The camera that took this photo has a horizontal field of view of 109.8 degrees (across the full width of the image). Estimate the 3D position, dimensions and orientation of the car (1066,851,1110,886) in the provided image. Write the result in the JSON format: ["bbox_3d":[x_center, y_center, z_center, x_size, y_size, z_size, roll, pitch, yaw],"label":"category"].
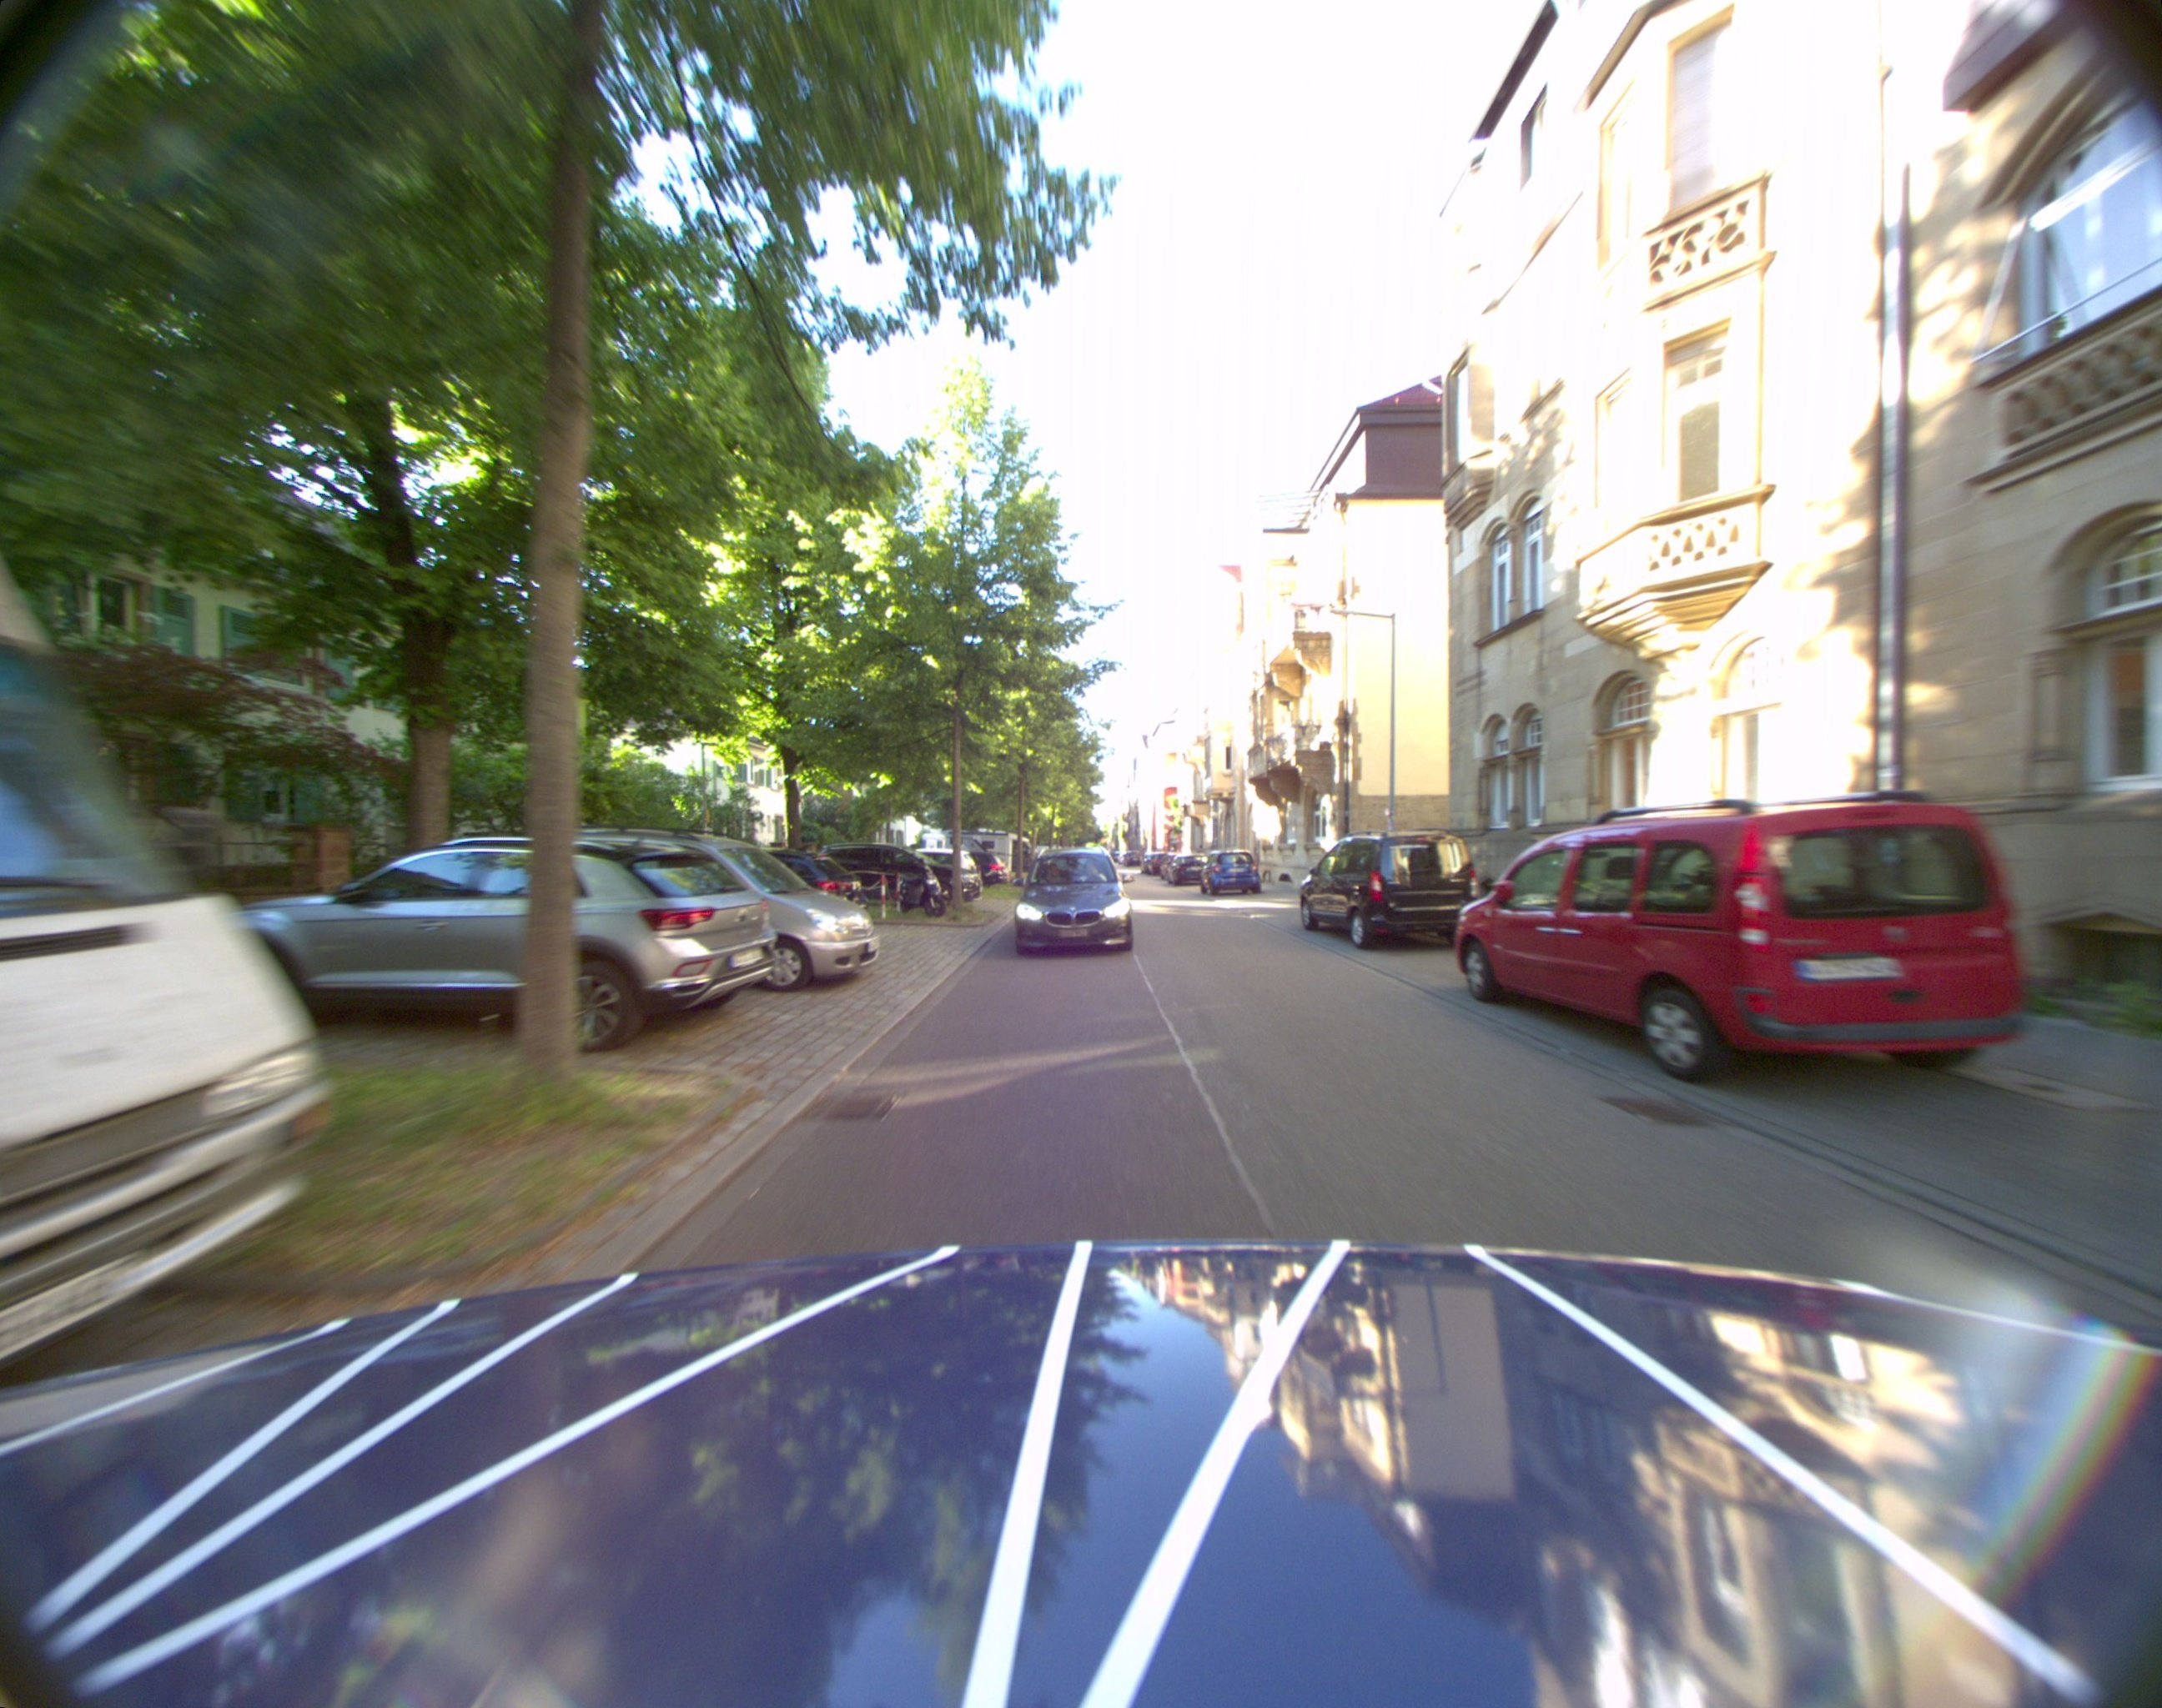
[{"bbox_3d":[0.385,0.684,37.685,1.998,1.510,4.651,-3,0,1],"label":"car"}]

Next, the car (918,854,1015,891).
[{"bbox_3d":[-4.963,0.772,33.291,3.998,1.510,1.999,0,2,-3],"label":"car"}]

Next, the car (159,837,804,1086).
[{"bbox_3d":[-4.695,0.736,6.389,3.971,1.590,1.903,2,2,3],"label":"car"}]

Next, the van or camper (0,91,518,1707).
[{"bbox_3d":[-5.552,0.123,1.373,7.095,3.060,2.464,0,1,-2],"label":"van or camper"}]

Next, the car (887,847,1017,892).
[{"bbox_3d":[-4.761,0.545,28.441,4.468,1.469,1.753,2,1,2],"label":"car"}]

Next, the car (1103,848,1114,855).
[{"bbox_3d":[6.628,-0.499,181.331,2.000,1.529,3.997,-3,1,-7],"label":"car"}]

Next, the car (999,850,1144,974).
[{"bbox_3d":[-0.081,0.794,12.760,1.924,1.597,4.516,-3,0,1],"label":"car"}]

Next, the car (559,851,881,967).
[{"bbox_3d":[-5.103,0.761,11.199,3.886,1.464,1.786,2,1,-4],"label":"car"}]

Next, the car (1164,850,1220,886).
[{"bbox_3d":[5.087,0.609,35.349,1.905,1.430,4.541,-4,0,0],"label":"car"}]

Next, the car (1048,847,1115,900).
[{"bbox_3d":[-0.068,0.618,25.816,1.999,1.584,4.261,-2,0,-3],"label":"car"}]

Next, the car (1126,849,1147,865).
[{"bbox_3d":[5.835,0.292,80.451,1.862,1.595,4.000,-3,1,0],"label":"car"}]

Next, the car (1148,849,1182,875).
[{"bbox_3d":[5.298,0.473,48.308,1.747,1.457,3.998,-2,1,2],"label":"car"}]

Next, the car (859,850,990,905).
[{"bbox_3d":[-4.509,0.660,22.279,3.456,1.467,1.693,1,1,1],"label":"car"}]

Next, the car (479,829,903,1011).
[{"bbox_3d":[-4.236,0.670,8.694,3.924,1.734,1.729,2,1,1],"label":"car"}]

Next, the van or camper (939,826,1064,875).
[{"bbox_3d":[-4.738,-0.232,46.190,7.266,2.888,2.427,0,2,1],"label":"van or camper"}]

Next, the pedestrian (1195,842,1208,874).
[{"bbox_3d":[7.100,0.228,44.763,0.695,1.837,0.497,-2,1,2],"label":"pedestrian"}]

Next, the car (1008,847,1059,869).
[{"bbox_3d":[-3.893,0.319,62.820,3.997,1.804,2.000,0,1,1],"label":"car"}]

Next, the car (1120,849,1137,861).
[{"bbox_3d":[6.027,0.135,96.490,1.922,1.510,4.000,0,1,0],"label":"car"}]

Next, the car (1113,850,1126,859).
[{"bbox_3d":[5.914,0.079,116.967,1.702,1.372,4.000,0,1,0],"label":"car"}]

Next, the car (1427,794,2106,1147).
[{"bbox_3d":[4.774,0.632,6.358,1.803,1.896,4.324,-2,1,1],"label":"car"}]

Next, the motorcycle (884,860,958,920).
[{"bbox_3d":[-3.477,0.741,16.399,0.739,1.190,1.771,-1,1,-43],"label":"motorcycle"}]

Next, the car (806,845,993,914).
[{"bbox_3d":[-4.559,0.621,19.617,4.344,1.599,1.927,1,1,-1],"label":"car"}]

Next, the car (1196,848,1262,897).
[{"bbox_3d":[5.056,0.607,26.342,1.688,1.500,2.861,-4,1,1],"label":"car"}]

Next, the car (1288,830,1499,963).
[{"bbox_3d":[5.025,0.588,12.994,1.774,1.841,4.541,-1,0,1],"label":"car"}]

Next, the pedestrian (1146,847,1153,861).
[{"bbox_3d":[8.089,-0.027,90.082,0.779,1.693,1.010,0,1,1],"label":"pedestrian"}]

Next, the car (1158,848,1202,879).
[{"bbox_3d":[5.321,0.462,41.214,1.694,1.458,3.772,-5,1,-1],"label":"car"}]

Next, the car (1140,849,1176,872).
[{"bbox_3d":[5.475,0.421,54.370,1.893,1.448,4.510,-4,0,-1],"label":"car"}]
